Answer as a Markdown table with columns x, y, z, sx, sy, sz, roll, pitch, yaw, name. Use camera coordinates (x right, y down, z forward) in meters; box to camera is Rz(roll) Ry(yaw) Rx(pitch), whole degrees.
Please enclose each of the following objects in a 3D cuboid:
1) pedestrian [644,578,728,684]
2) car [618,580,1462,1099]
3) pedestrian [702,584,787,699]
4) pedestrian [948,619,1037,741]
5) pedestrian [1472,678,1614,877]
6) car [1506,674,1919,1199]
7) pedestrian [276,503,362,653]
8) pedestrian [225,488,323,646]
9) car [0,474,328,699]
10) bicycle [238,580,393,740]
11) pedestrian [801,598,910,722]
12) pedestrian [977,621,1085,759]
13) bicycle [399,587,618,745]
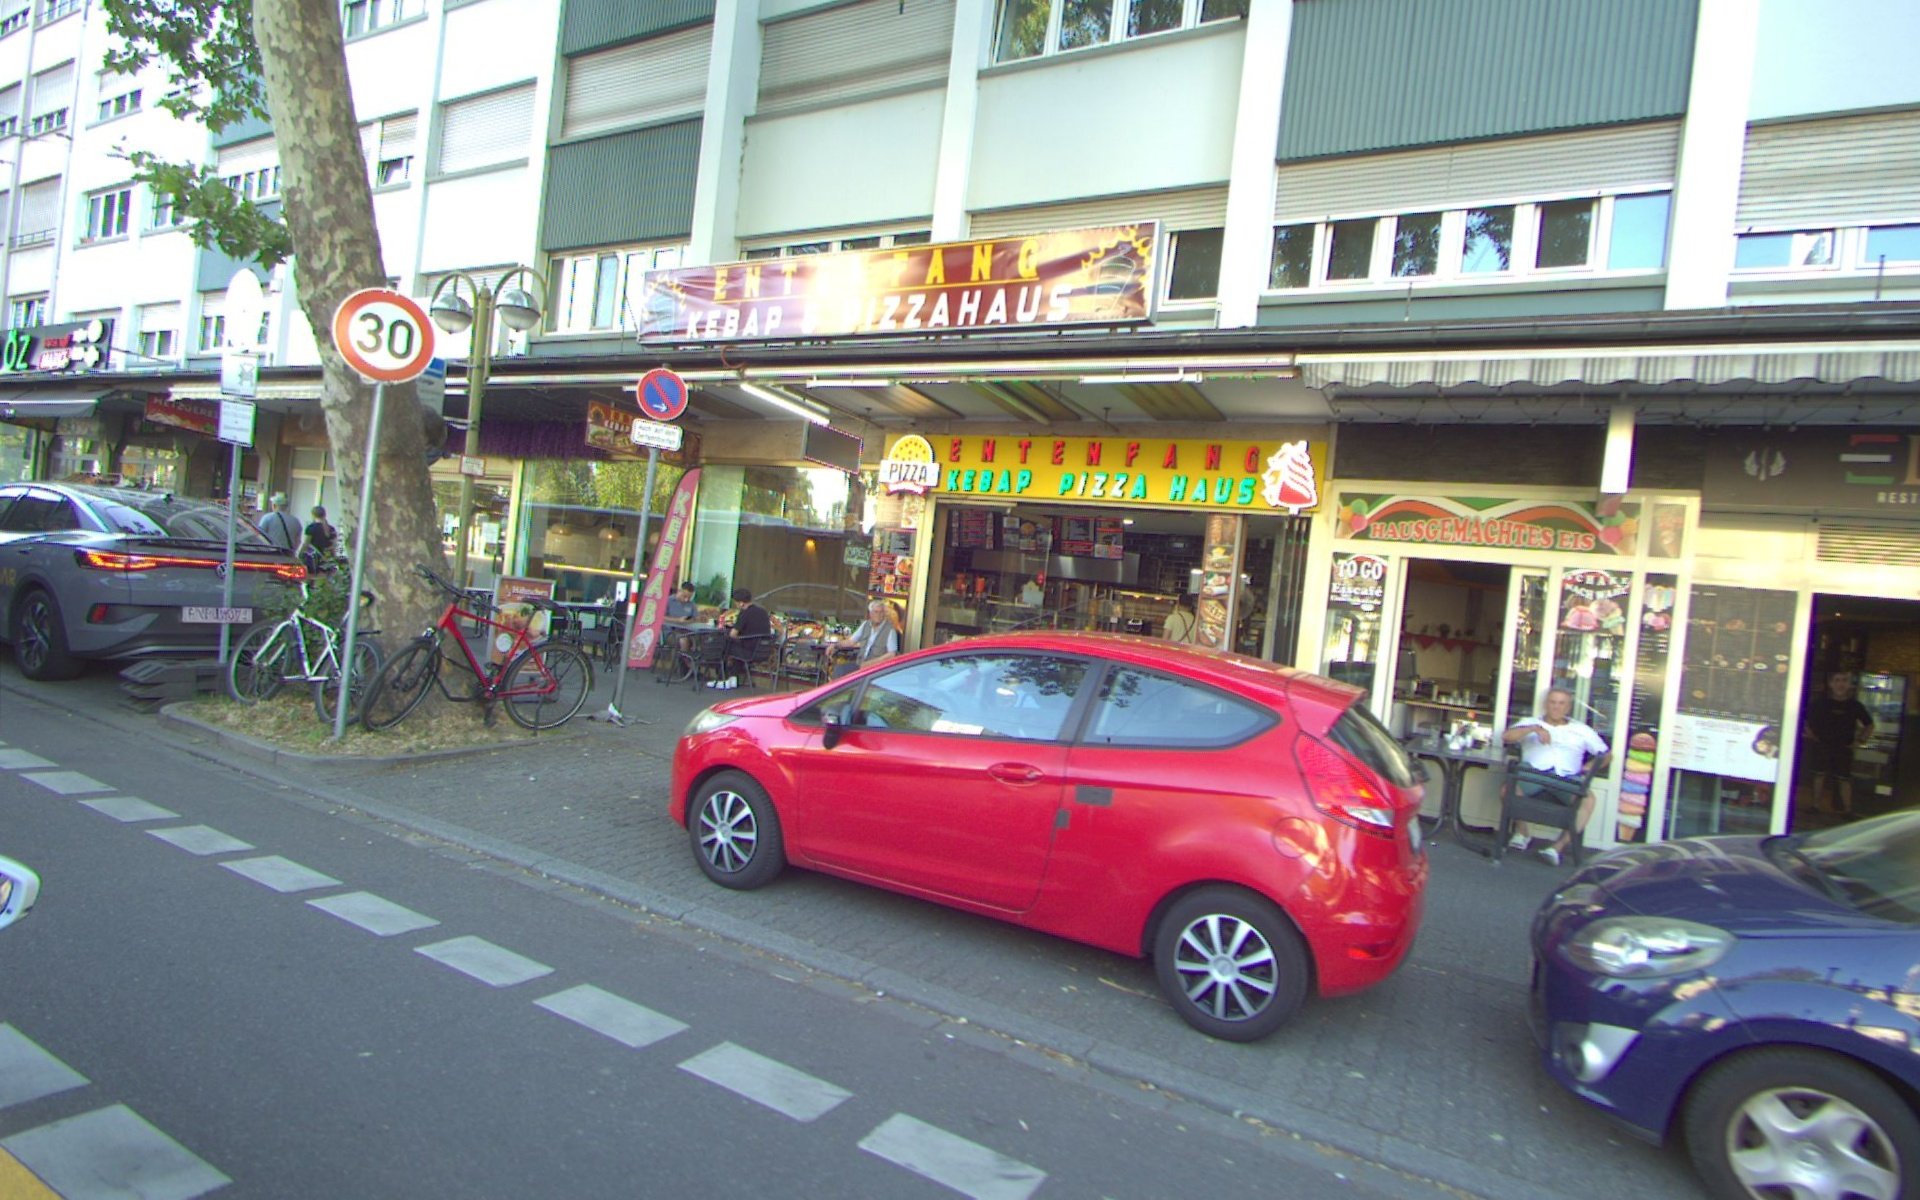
| x | y | z | sx | sy | sz | roll | pitch | yaw | name |
| --- | --- | --- | --- | --- | --- | --- | --- | --- | --- |
| -3.389 | 0.374 | 12.437 | 0.694 | 1.220 | 0.675 | 7 | 3 | 41 | pedestrian |
| 0.339 | 0.837 | 5.069 | 3.780 | 1.448 | 1.668 | 7 | 2 | 27 | car |
| -2.543 | 0.479 | 11.875 | 0.701 | 1.260 | 0.614 | 7 | 3 | 41 | pedestrian |
| 0.340 | 0.806 | 10.462 | 0.585 | 1.172 | 0.671 | 6 | 3 | 31 | pedestrian |
| 4.485 | 1.294 | 7.708 | 0.767 | 1.249 | 1.202 | 6 | 3 | 33 | pedestrian |
| 3.730 | 1.234 | 3.001 | 3.543 | 1.486 | 1.620 | 7 | 2 | 29 | car |
| -9.179 | -0.305 | 14.411 | 0.684 | 2.039 | 0.614 | 7 | 1 | 26 | pedestrian |
| -9.308 | -0.431 | 13.659 | 0.684 | 2.039 | 0.692 | 7 | 1 | 26 | pedestrian |
| -8.022 | -0.261 | 9.277 | 4.223 | 1.619 | 1.742 | 7 | 2 | 27 | car |
| -4.594 | 0.405 | 7.154 | 1.110 | 0.941 | 0.295 | 9 | 6 | 21 | bicycle |
| -1.131 | 0.638 | 10.944 | 0.861 | 1.237 | 0.688 | 2 | 4 | -44 | pedestrian |
| 0.670 | 0.822 | 9.498 | 0.740 | 1.172 | 0.593 | 6 | 3 | 33 | pedestrian |
| -3.383 | 0.485 | 7.634 | 0.291 | 1.082 | 1.455 | 12 | 7 | 42 | bicycle |
